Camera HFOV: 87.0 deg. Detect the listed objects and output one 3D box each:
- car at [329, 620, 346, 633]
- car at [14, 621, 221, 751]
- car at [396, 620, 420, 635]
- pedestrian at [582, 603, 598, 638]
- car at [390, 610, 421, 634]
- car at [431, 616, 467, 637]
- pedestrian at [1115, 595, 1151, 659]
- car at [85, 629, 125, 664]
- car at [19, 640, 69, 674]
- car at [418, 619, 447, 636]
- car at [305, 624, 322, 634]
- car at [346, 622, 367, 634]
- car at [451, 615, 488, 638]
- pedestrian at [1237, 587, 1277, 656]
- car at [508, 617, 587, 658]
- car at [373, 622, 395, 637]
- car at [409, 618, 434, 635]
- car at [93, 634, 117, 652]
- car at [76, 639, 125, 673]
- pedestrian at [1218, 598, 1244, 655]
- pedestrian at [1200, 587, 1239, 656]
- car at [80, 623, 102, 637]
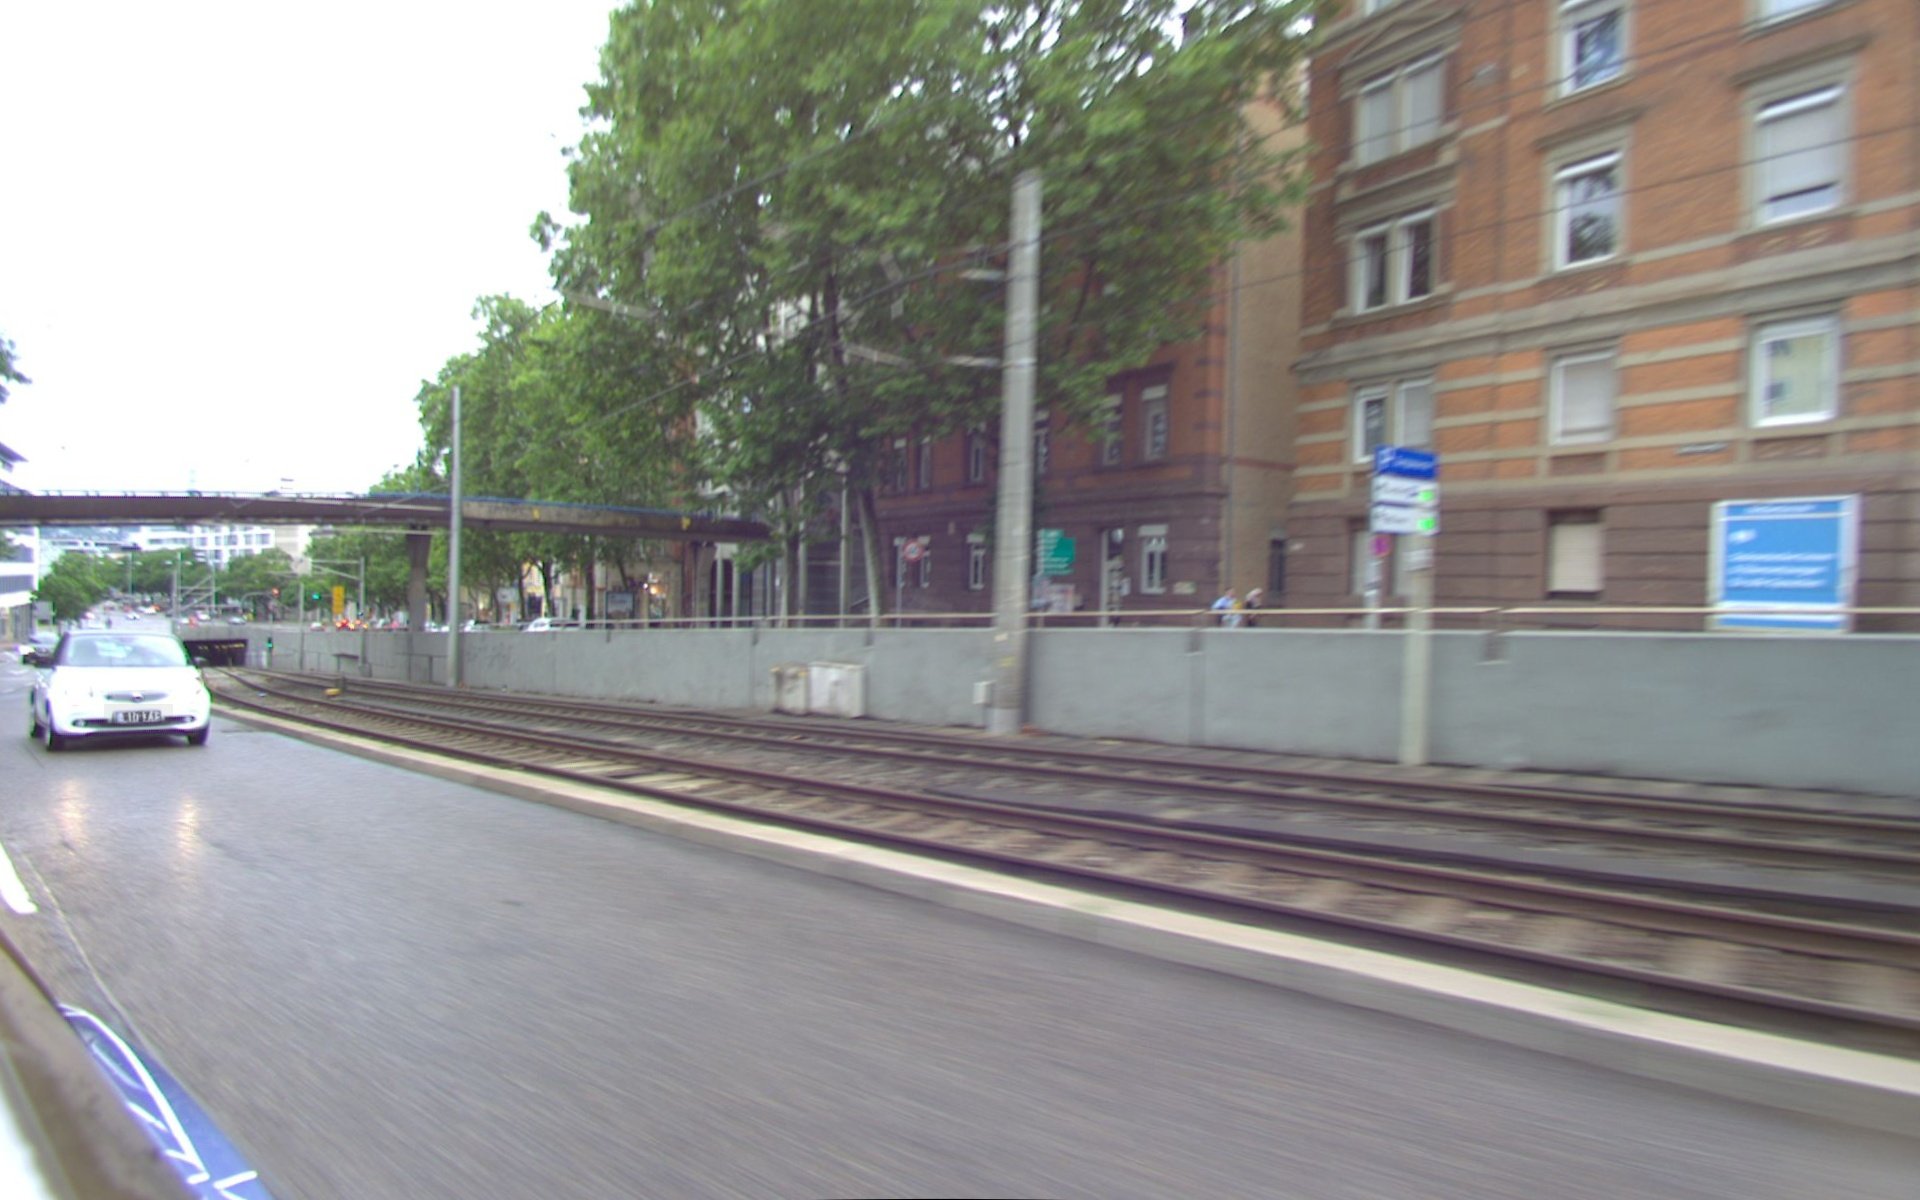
[{"bbox_3d":[-95.975,4.139,156.072,1.930,1.866,4.980,-1,0,-35],"label":"car"},{"bbox_3d":[-11.818,1.125,14.108,4.001,1.549,1.774,-3,-4,44],"label":"car"},{"bbox_3d":[-60.546,2.975,110.929,1.770,1.522,4.683,-1,0,-35],"label":"car"},{"bbox_3d":[-21.900,1.226,59.901,0.660,2.029,0.937,-2,1,-34],"label":"pedestrian"},{"bbox_3d":[-64.749,2.561,118.120,2.420,2.682,6.948,-1,0,-35],"label":"car"},{"bbox_3d":[-43.265,2.253,85.599,1.901,1.613,5.211,-1,0,-36],"label":"car"},{"bbox_3d":[4.543,0.722,26.593,0.585,1.637,0.725,2,-4,-30],"label":"pedestrian"},{"bbox_3d":[-55.629,2.995,65.922,1.771,2.048,4.008,-2,1,-38],"label":"car"},{"bbox_3d":[-51.994,3.189,57.501,1.771,1.678,4.008,-2,1,-38],"label":"car"},{"bbox_3d":[-49.220,2.549,94.410,1.770,1.522,4.218,-1,0,-35],"label":"car"},{"bbox_3d":[-97.676,4.366,152.968,1.771,1.522,4.008,-1,0,-38],"label":"car"},{"bbox_3d":[-79.221,3.672,132.920,1.771,1.522,4.115,-1,-1,-39],"label":"car"},{"bbox_3d":[-36.889,2.004,76.079,1.771,1.624,4.121,-1,0,-36],"label":"car"},{"bbox_3d":[7.210,0.539,24.599,0.585,1.637,0.725,2,-4,-30],"label":"pedestrian"},{"bbox_3d":[-17.904,1.622,43.800,1.772,1.624,4.364,-1,-1,-42],"label":"car"},{"bbox_3d":[-71.973,3.734,126.492,1.852,1.778,4.912,-1,0,-36],"label":"car"},{"bbox_3d":[-55.018,2.719,103.394,1.770,1.583,4.218,-1,0,-35],"label":"car"},{"bbox_3d":[-86.464,4.322,102.314,1.772,1.624,4.365,-1,-1,-40],"label":"car"},{"bbox_3d":[-45.508,2.931,53.648,1.771,1.521,4.008,-2,1,-38],"label":"car"},{"bbox_3d":[6.388,0.631,23.870,0.330,1.344,0.505,4,-5,-44],"label":"pedestrian"},{"bbox_3d":[6.322,0.538,24.679,0.585,1.637,0.725,2,-4,-30],"label":"pedestrian"},{"bbox_3d":[-104.152,3.624,121.322,1.771,1.521,4.008,-2,1,-38],"label":"car"}]
